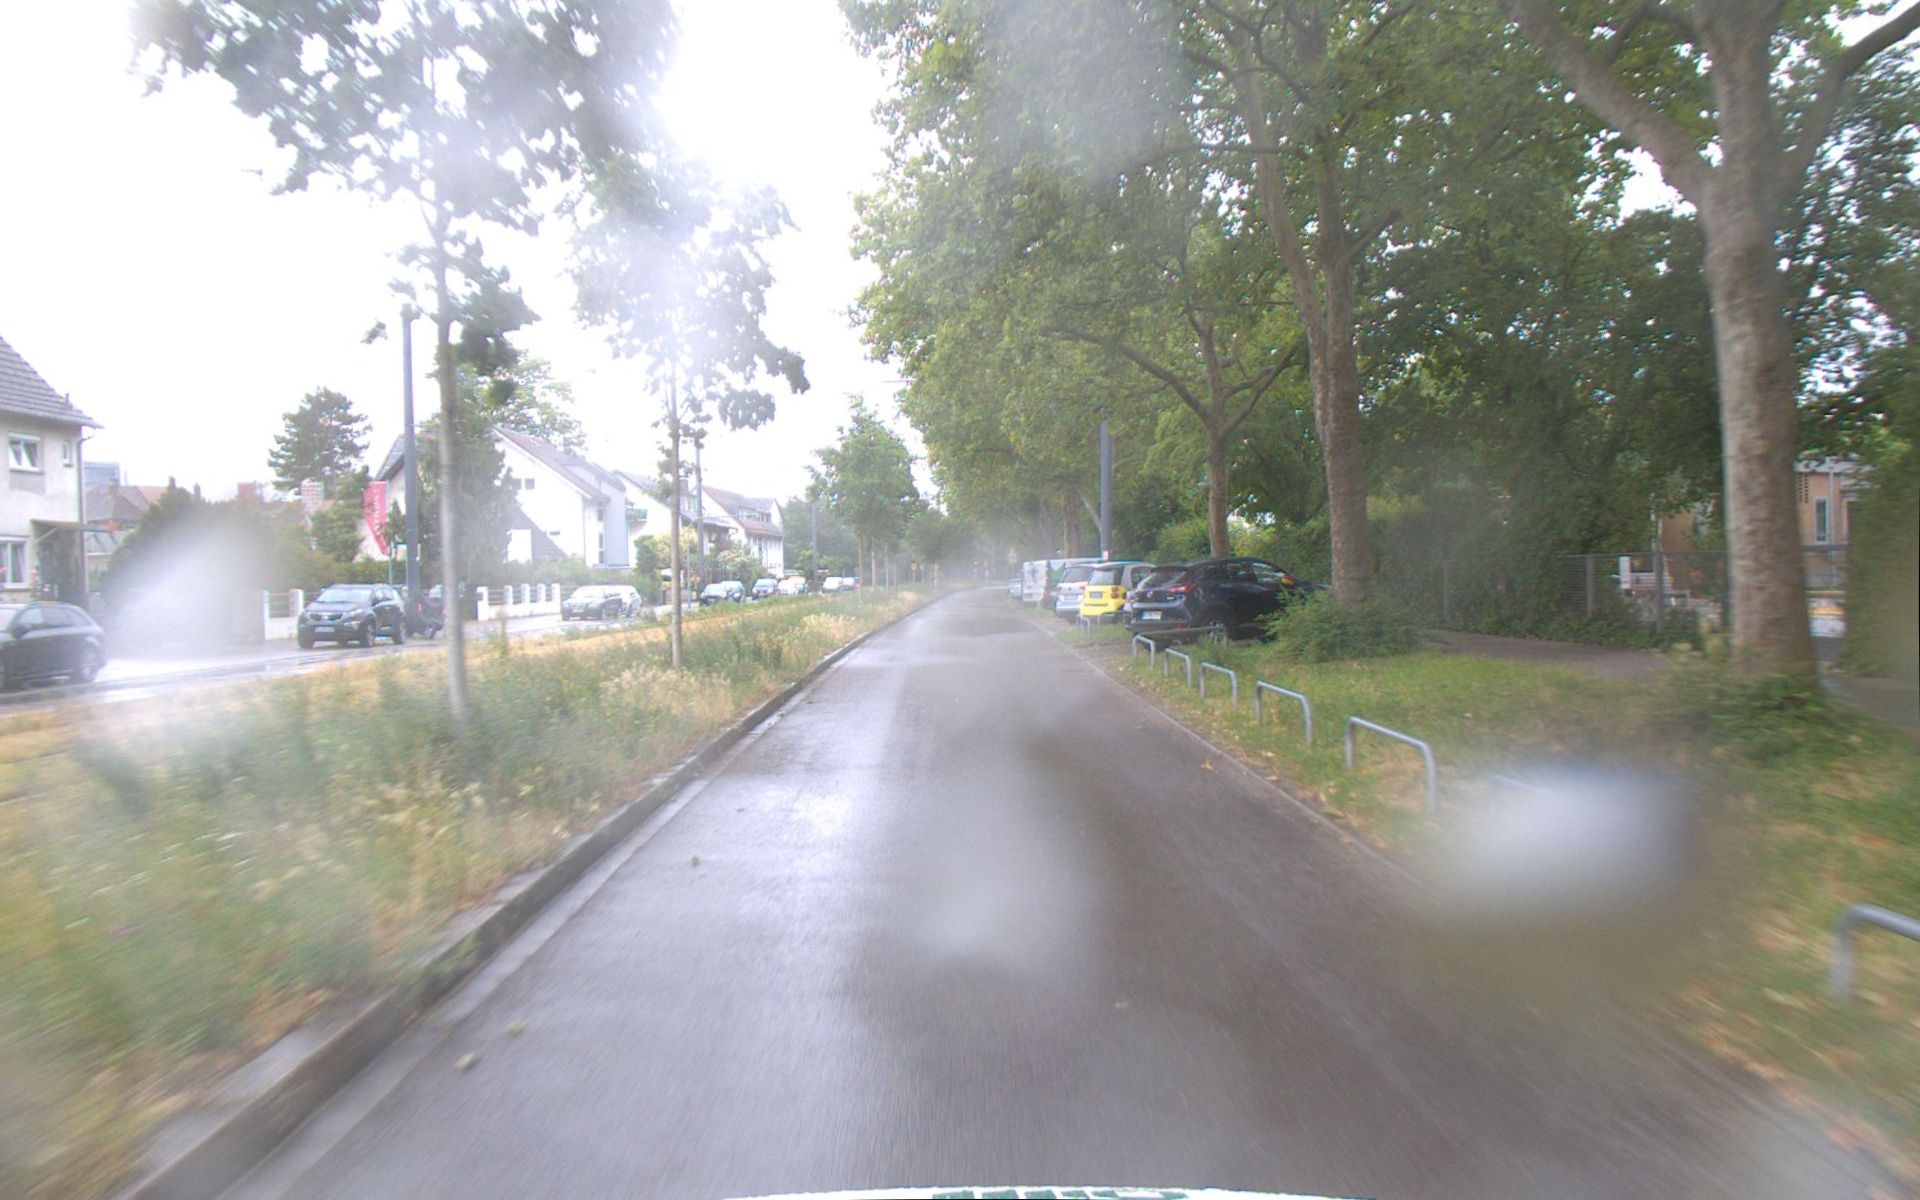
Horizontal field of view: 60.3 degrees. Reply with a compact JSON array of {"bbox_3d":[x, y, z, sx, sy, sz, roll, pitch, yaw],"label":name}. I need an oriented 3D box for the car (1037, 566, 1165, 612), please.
[{"bbox_3d":[4.690,-0.375,54.854,4.265,1.408,1.716,-2,1,-40],"label":"car"}]

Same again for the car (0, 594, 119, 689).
[{"bbox_3d":[-16.185,0.670,27.370,1.952,1.435,4.763,1,1,2],"label":"car"}]

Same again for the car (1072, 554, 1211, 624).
[{"bbox_3d":[4.316,-0.263,39.333,2.864,1.491,1.588,-3,0,-29],"label":"car"}]

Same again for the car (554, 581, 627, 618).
[{"bbox_3d":[-15.850,-0.057,71.127,1.952,1.481,4.533,1,1,2],"label":"car"}]

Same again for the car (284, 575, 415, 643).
[{"bbox_3d":[-16.331,0.214,44.467,1.953,1.704,4.386,-1,0,-1],"label":"car"}]

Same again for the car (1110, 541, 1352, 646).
[{"bbox_3d":[4.626,-0.134,28.115,3.758,1.559,1.862,-3,2,-33],"label":"car"}]

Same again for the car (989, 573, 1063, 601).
[{"bbox_3d":[4.385,-0.851,109.448,4.723,1.697,1.970,-3,1,-36],"label":"car"}]

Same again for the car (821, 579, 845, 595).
[{"bbox_3d":[-13.076,-1.360,170.097,1.952,1.608,4.518,1,1,2],"label":"car"}]

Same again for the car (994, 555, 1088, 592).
[{"bbox_3d":[4.172,-1.368,84.807,4.503,1.571,1.867,-5,2,-32],"label":"car"}]

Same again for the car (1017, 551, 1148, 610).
[{"bbox_3d":[4.825,-0.775,65.027,4.972,2.048,1.976,-4,2,-35],"label":"car"}]

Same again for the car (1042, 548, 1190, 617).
[{"bbox_3d":[4.321,-0.496,45.505,4.007,1.669,1.632,-3,0,-38],"label":"car"}]

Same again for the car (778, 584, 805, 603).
[{"bbox_3d":[-14.184,-0.552,139.617,1.759,1.514,3.598,1,1,2],"label":"car"}]

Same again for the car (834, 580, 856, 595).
[{"bbox_3d":[-12.796,-1.404,183.937,1.952,1.514,4.207,1,1,2],"label":"car"}]

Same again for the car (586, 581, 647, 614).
[{"bbox_3d":[-15.941,-0.149,76.929,1.953,1.435,3.971,1,1,0],"label":"car"}]

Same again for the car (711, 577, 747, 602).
[{"bbox_3d":[-15.397,-0.723,110.555,1.835,1.577,3.870,1,1,0],"label":"car"}]

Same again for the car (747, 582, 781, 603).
[{"bbox_3d":[-15.108,-0.610,127.840,1.952,1.542,4.207,1,1,2],"label":"car"}]

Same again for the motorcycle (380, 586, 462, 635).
[{"bbox_3d":[-16.324,0.310,50.051,2.640,1.435,1.259,0,-1,43],"label":"motorcycle"}]

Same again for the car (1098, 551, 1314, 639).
[{"bbox_3d":[4.740,-0.112,31.607,4.019,1.443,1.720,-4,0,-37],"label":"car"}]

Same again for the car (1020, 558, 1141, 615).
[{"bbox_3d":[3.763,-0.419,51.452,3.370,1.544,1.825,-4,0,-37],"label":"car"}]

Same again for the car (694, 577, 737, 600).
[{"bbox_3d":[-15.545,-0.767,105.491,1.952,1.374,4.242,1,1,2],"label":"car"}]
